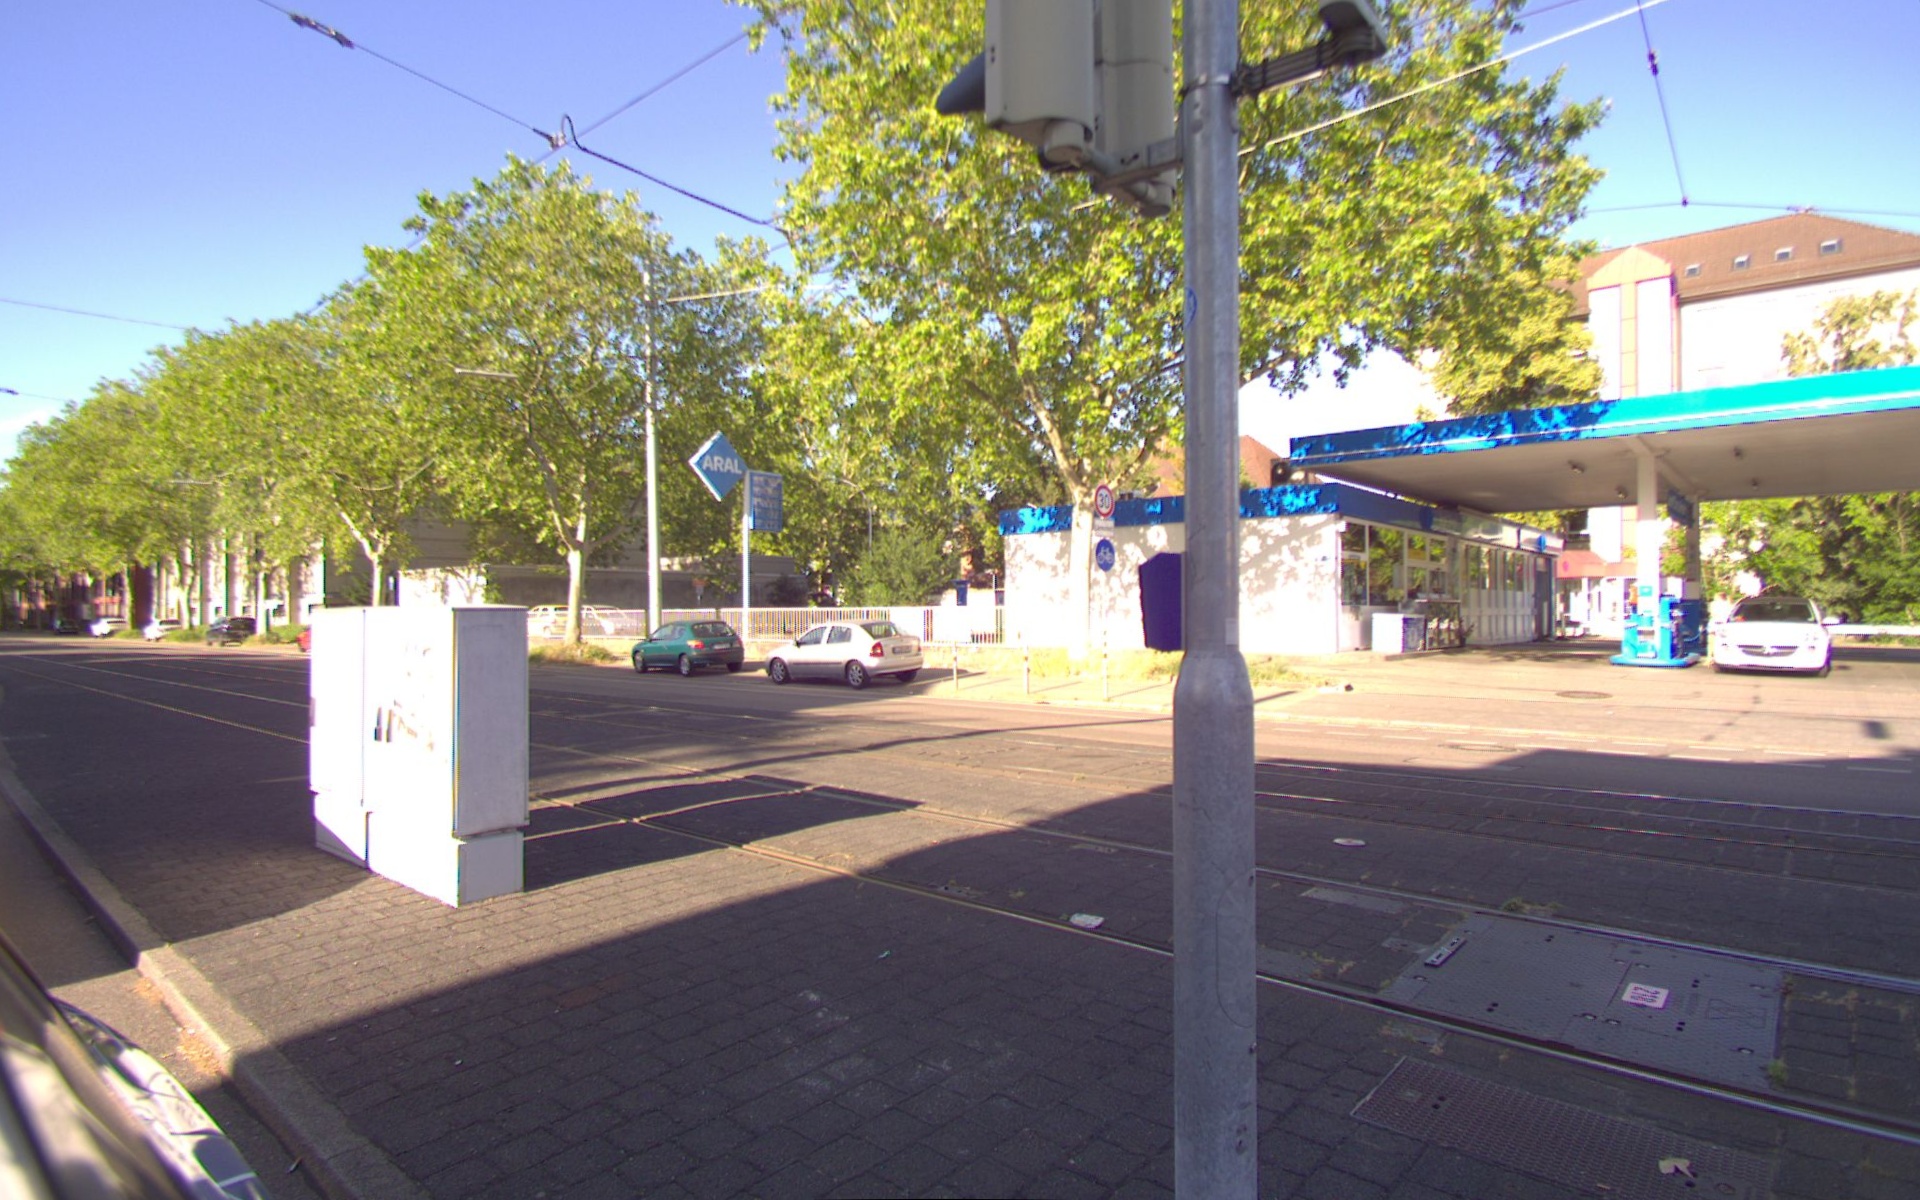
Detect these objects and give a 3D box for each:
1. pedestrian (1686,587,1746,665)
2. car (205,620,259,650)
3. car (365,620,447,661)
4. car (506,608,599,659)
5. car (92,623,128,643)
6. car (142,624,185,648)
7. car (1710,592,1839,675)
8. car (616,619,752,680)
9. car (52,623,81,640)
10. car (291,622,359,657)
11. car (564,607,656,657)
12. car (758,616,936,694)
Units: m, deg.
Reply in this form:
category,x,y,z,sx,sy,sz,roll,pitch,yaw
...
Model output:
category,x,y,z,sx,sy,sz,roll,pitch,yaw
pedestrian,16.145,0.554,21.623,0.799,1.642,0.649,0,-1,-16
car,-40.672,1.948,56.488,3.858,1.557,1.735,-1,0,43
car,-21.981,1.583,40.094,3.858,1.468,1.735,-1,0,43
car,-17.041,1.390,42.265,3.996,2.029,1.974,-1,-1,39
car,-66.923,2.569,79.644,3.858,1.495,1.735,-1,0,43
car,-53.635,2.390,68.124,3.858,1.495,1.735,-1,0,43
car,15.944,0.613,19.785,1.793,1.453,3.946,-1,-1,40
car,-7.430,1.271,27.078,3.858,1.408,1.722,-1,1,43
car,-84.869,3.000,96.119,3.858,1.495,1.735,-1,0,43
car,-28.908,1.768,46.048,3.858,1.440,1.695,-1,0,43
car,-15.142,1.360,43.693,3.996,2.029,1.974,-1,-1,39
car,-2.570,1.164,22.599,3.857,1.497,1.823,-1,1,42
